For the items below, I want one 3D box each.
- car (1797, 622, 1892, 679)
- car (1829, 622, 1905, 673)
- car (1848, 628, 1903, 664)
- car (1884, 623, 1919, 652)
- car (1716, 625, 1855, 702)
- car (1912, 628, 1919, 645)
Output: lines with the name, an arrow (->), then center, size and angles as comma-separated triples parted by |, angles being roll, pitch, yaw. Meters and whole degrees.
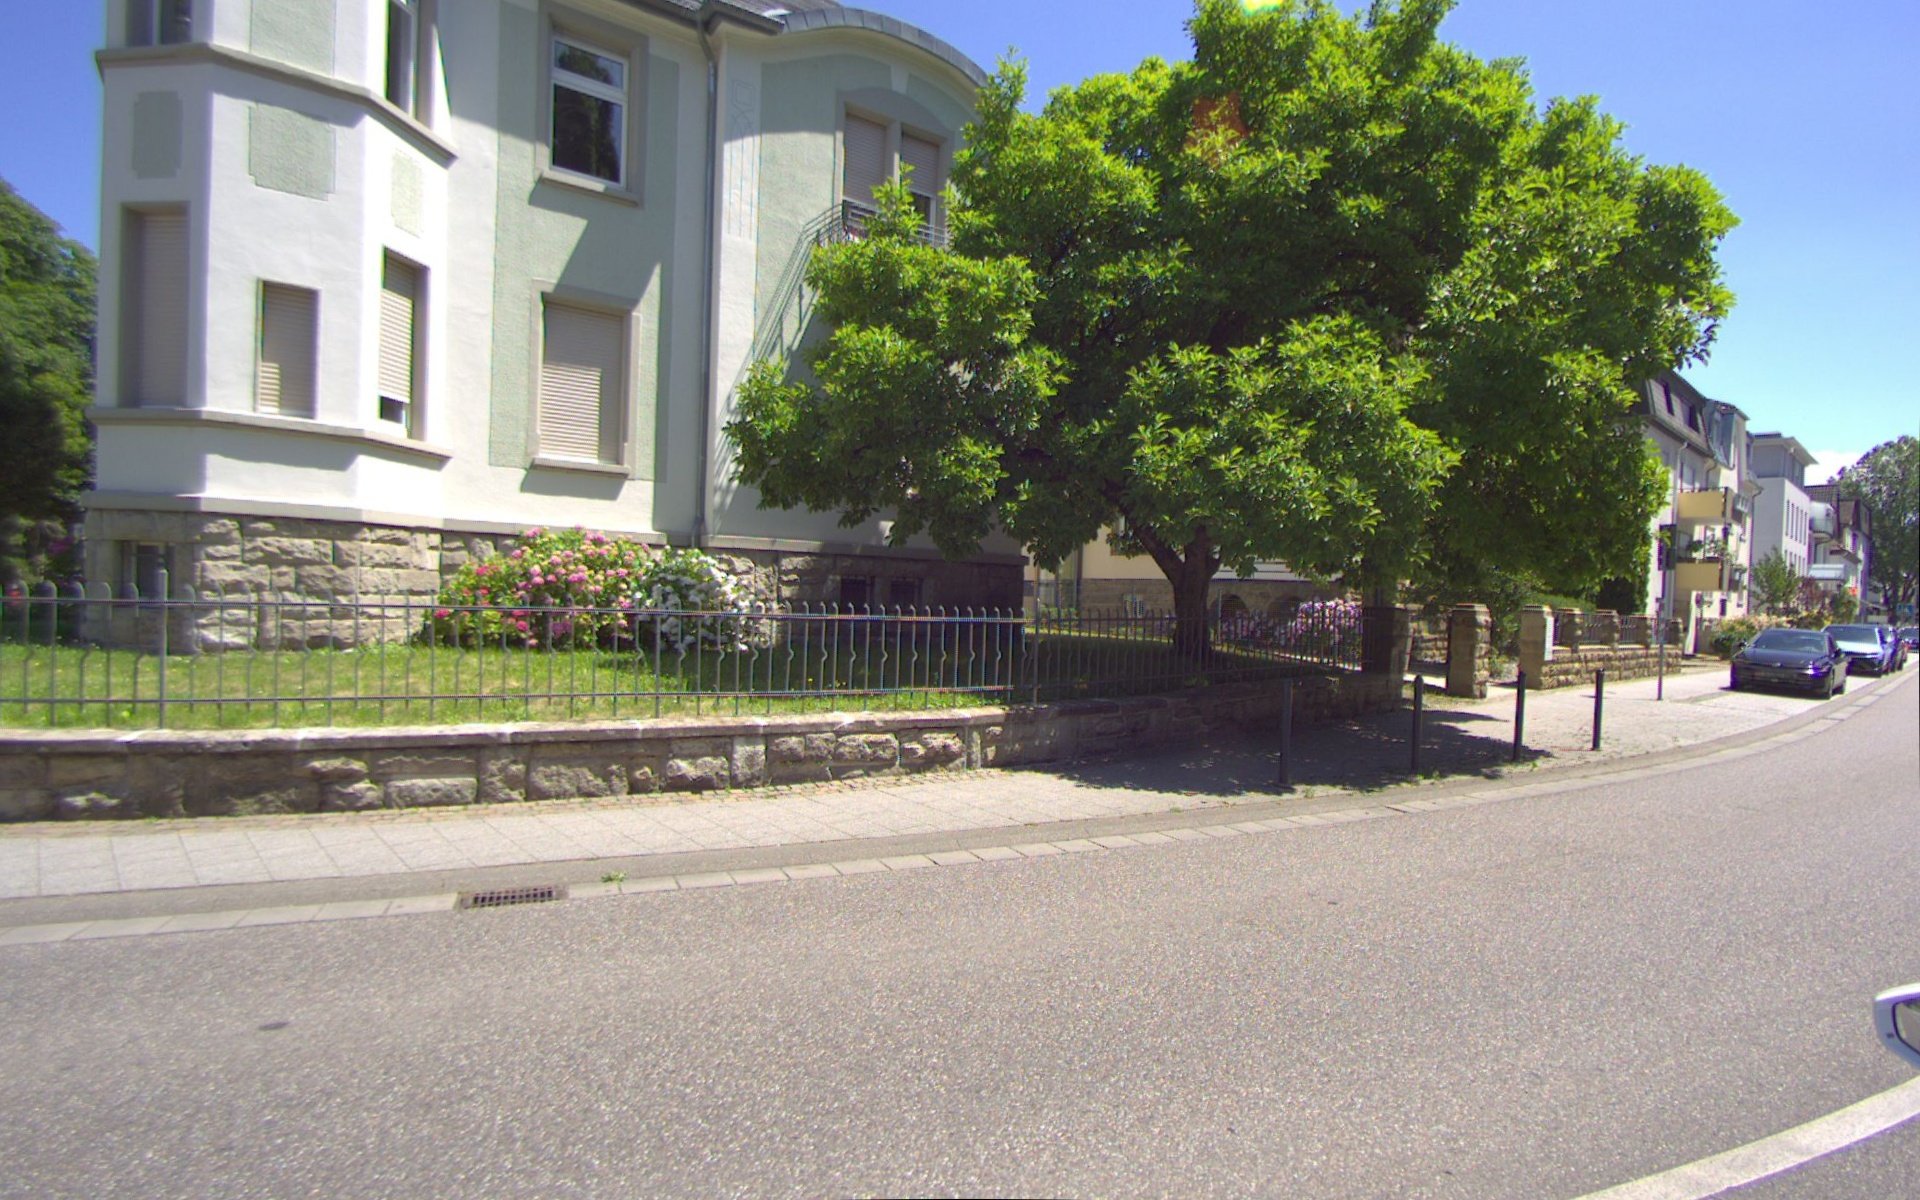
car -> 29.472, 1.623, 33.411 | 4.627, 1.594, 1.907 | 2, 3, -44
car -> 33.957, 1.733, 37.558 | 4.540, 1.641, 1.708 | 2, 3, -44
car -> 41.538, 2.041, 45.575 | 1.632, 1.438, 3.881 | 5, 3, 44
car -> 60.856, 2.417, 64.387 | 4.437, 1.743, 1.909 | 2, 0, -41
car -> 19.346, 1.405, 23.453 | 4.627, 1.456, 1.907 | 2, 3, -44
car -> 84.888, 3.218, 88.077 | 1.973, 1.367, 3.975 | 1, 0, 45
